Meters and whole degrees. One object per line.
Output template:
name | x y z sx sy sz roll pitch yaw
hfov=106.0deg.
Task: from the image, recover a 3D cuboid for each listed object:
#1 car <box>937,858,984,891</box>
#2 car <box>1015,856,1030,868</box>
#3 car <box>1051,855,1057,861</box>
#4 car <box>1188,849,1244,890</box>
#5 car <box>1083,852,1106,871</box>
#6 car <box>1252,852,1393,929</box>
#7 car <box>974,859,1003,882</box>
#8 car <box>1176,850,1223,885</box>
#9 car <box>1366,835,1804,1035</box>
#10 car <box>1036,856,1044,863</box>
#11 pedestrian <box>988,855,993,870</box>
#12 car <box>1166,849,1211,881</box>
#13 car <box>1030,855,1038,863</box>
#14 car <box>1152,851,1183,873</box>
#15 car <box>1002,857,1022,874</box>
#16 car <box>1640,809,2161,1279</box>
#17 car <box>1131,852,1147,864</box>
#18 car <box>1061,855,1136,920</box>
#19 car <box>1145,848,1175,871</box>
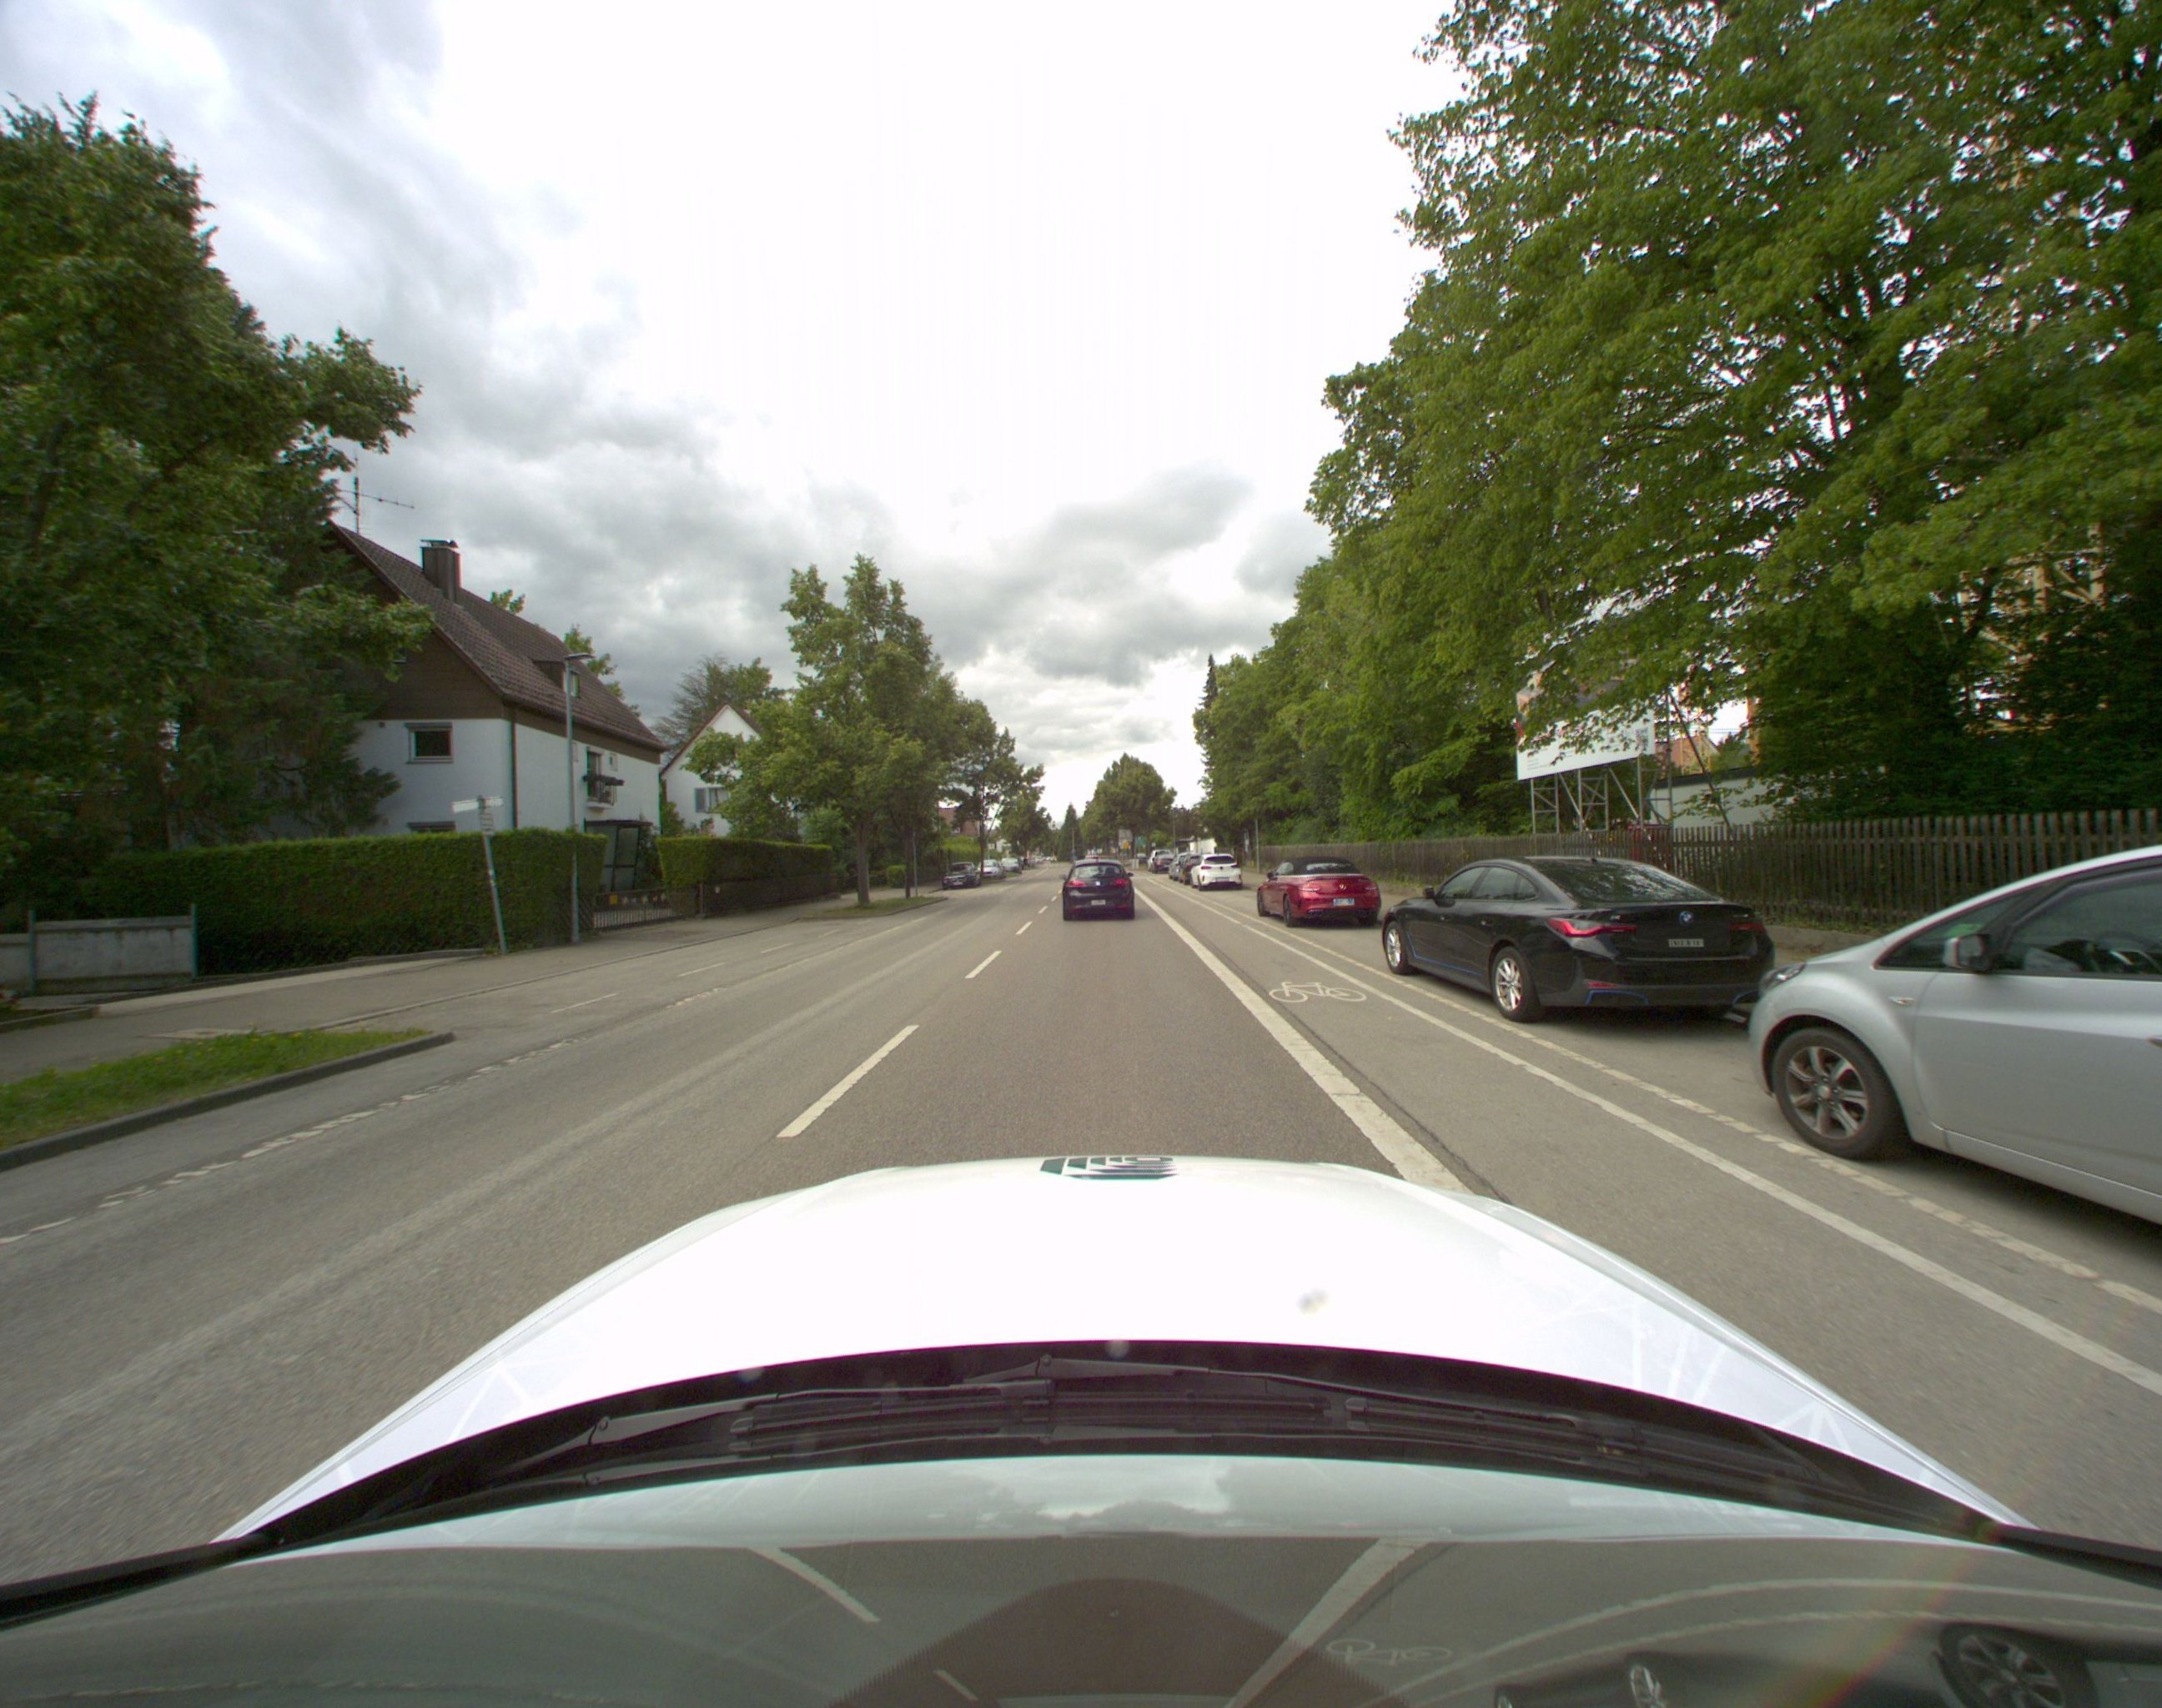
car | -6.916 1.123 47.311 2.090 1.647 5.034 -3 0 -2
car | -8.969 1.201 125.270 1.855 1.653 4.294 -2 0 0
car | -7.855 1.024 235.134 1.563 1.634 3.622 -3 0 1
car | 5.478 0.621 33.483 1.761 1.510 4.033 -2 -1 2
car | 1.217 0.711 74.948 1.987 1.613 4.000 -2 0 0
car | 5.087 0.689 17.781 1.852 1.413 4.445 0 1 1
car | -6.960 1.219 61.810 1.713 1.613 3.908 -3 0 -1
car | 5.595 0.590 38.945 1.695 1.510 4.539 -1 0 2
car | 4.707 0.645 8.630 1.809 1.515 4.681 -1 0 1
car | -10.287 1.424 202.841 1.793 1.601 3.997 -3 0 -2
pedestrian | -11.392 1.041 102.254 0.502 1.806 0.671 -3 0 -1
car | 5.827 0.574 44.464 1.855 1.611 4.687 -1 -1 1
car | -12.797 1.394 220.495 2.025 1.970 3.995 -3 0 -3
car | 6.114 0.547 57.790 1.856 1.417 4.605 -2 0 2
car | -6.731 1.129 79.570 1.673 1.552 4.269 -3 0 -2
car | 4.558 0.616 3.057 1.856 1.589 4.421 -2 0 0
car | 7.166 0.521 101.121 1.607 1.377 4.386 -3 -1 0
car | 0.478 0.776 20.791 1.725 1.486 4.002 -1 0 2
car | 6.206 0.415 64.299 1.895 1.642 4.115 -3 -1 -1
